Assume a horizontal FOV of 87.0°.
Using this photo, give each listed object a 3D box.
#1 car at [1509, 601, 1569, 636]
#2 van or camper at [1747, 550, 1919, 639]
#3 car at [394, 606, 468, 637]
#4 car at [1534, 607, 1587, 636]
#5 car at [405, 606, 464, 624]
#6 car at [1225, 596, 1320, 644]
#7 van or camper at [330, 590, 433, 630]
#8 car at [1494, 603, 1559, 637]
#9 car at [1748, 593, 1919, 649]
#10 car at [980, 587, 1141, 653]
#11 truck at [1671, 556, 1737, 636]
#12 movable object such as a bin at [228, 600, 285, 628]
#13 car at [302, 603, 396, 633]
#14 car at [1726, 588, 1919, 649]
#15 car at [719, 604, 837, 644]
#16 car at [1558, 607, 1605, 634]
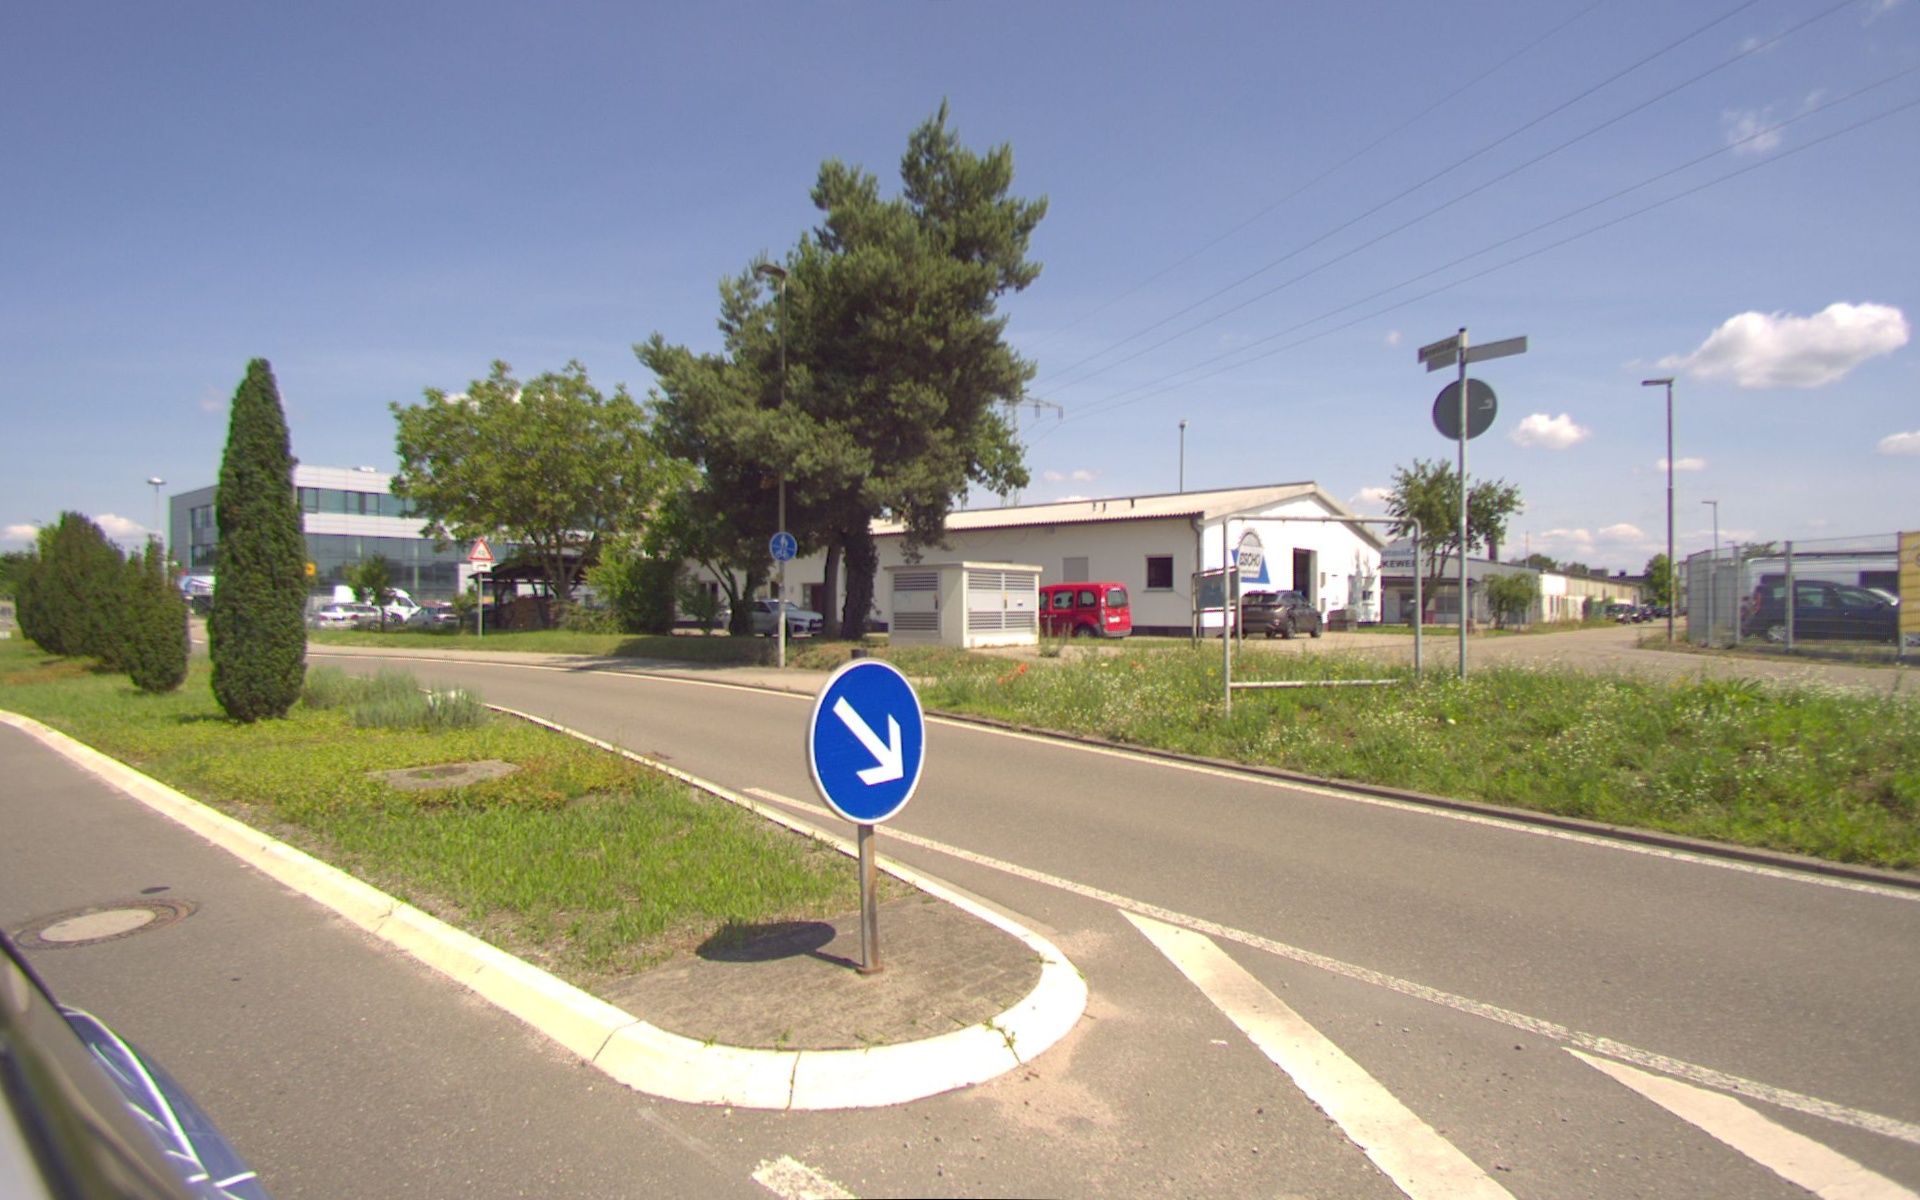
[{"bbox_3d":[30.369,0.951,53.020,1.998,1.756,4.433,-1,-1,40],"label":"car"},{"bbox_3d":[28.564,-0.149,31.119,6.766,2.619,1.973,-1,-1,41],"label":"van or camper"},{"bbox_3d":[-26.431,1.047,50.548,3.998,1.453,1.973,0,0,41],"label":"car"},{"bbox_3d":[34.075,1.198,57.378,1.998,1.567,4.168,-1,-1,39],"label":"car"},{"bbox_3d":[-40.025,1.131,77.117,3.679,1.331,1.906,0,0,-16],"label":"car"},{"bbox_3d":[10.599,0.644,34.194,1.932,1.536,3.952,-1,0,35],"label":"car"},{"bbox_3d":[-37.309,0.661,65.449,5.491,2.516,2.085,0,0,-22],"label":"van or camper"},{"bbox_3d":[27.443,0.944,48.956,1.998,1.567,4.752,-1,-1,39],"label":"car"},{"bbox_3d":[24.116,0.552,27.656,3.998,1.444,1.900,-1,-1,41],"label":"car"},{"bbox_3d":[2.851,0.566,29.137,4.225,1.758,1.974,-1,-1,39],"label":"car"},{"bbox_3d":[45.386,-0.202,61.637,2.843,4.551,8.482,-1,-1,38],"label":"truck"},{"bbox_3d":[-62.713,1.211,90.161,5.441,2.428,2.149,0,0,31],"label":"movable object such as a bin"},{"bbox_3d":[-32.549,0.924,53.960,3.939,1.530,2.002,1,-1,-43],"label":"car"},{"bbox_3d":[22.114,0.466,25.807,3.991,1.444,1.903,-1,-1,35],"label":"car"},{"bbox_3d":[-6.907,0.880,38.193,4.513,1.419,1.973,-1,-1,40],"label":"car"},{"bbox_3d":[38.686,1.239,62.944,1.998,1.567,4.168,-1,-1,39],"label":"car"}]
